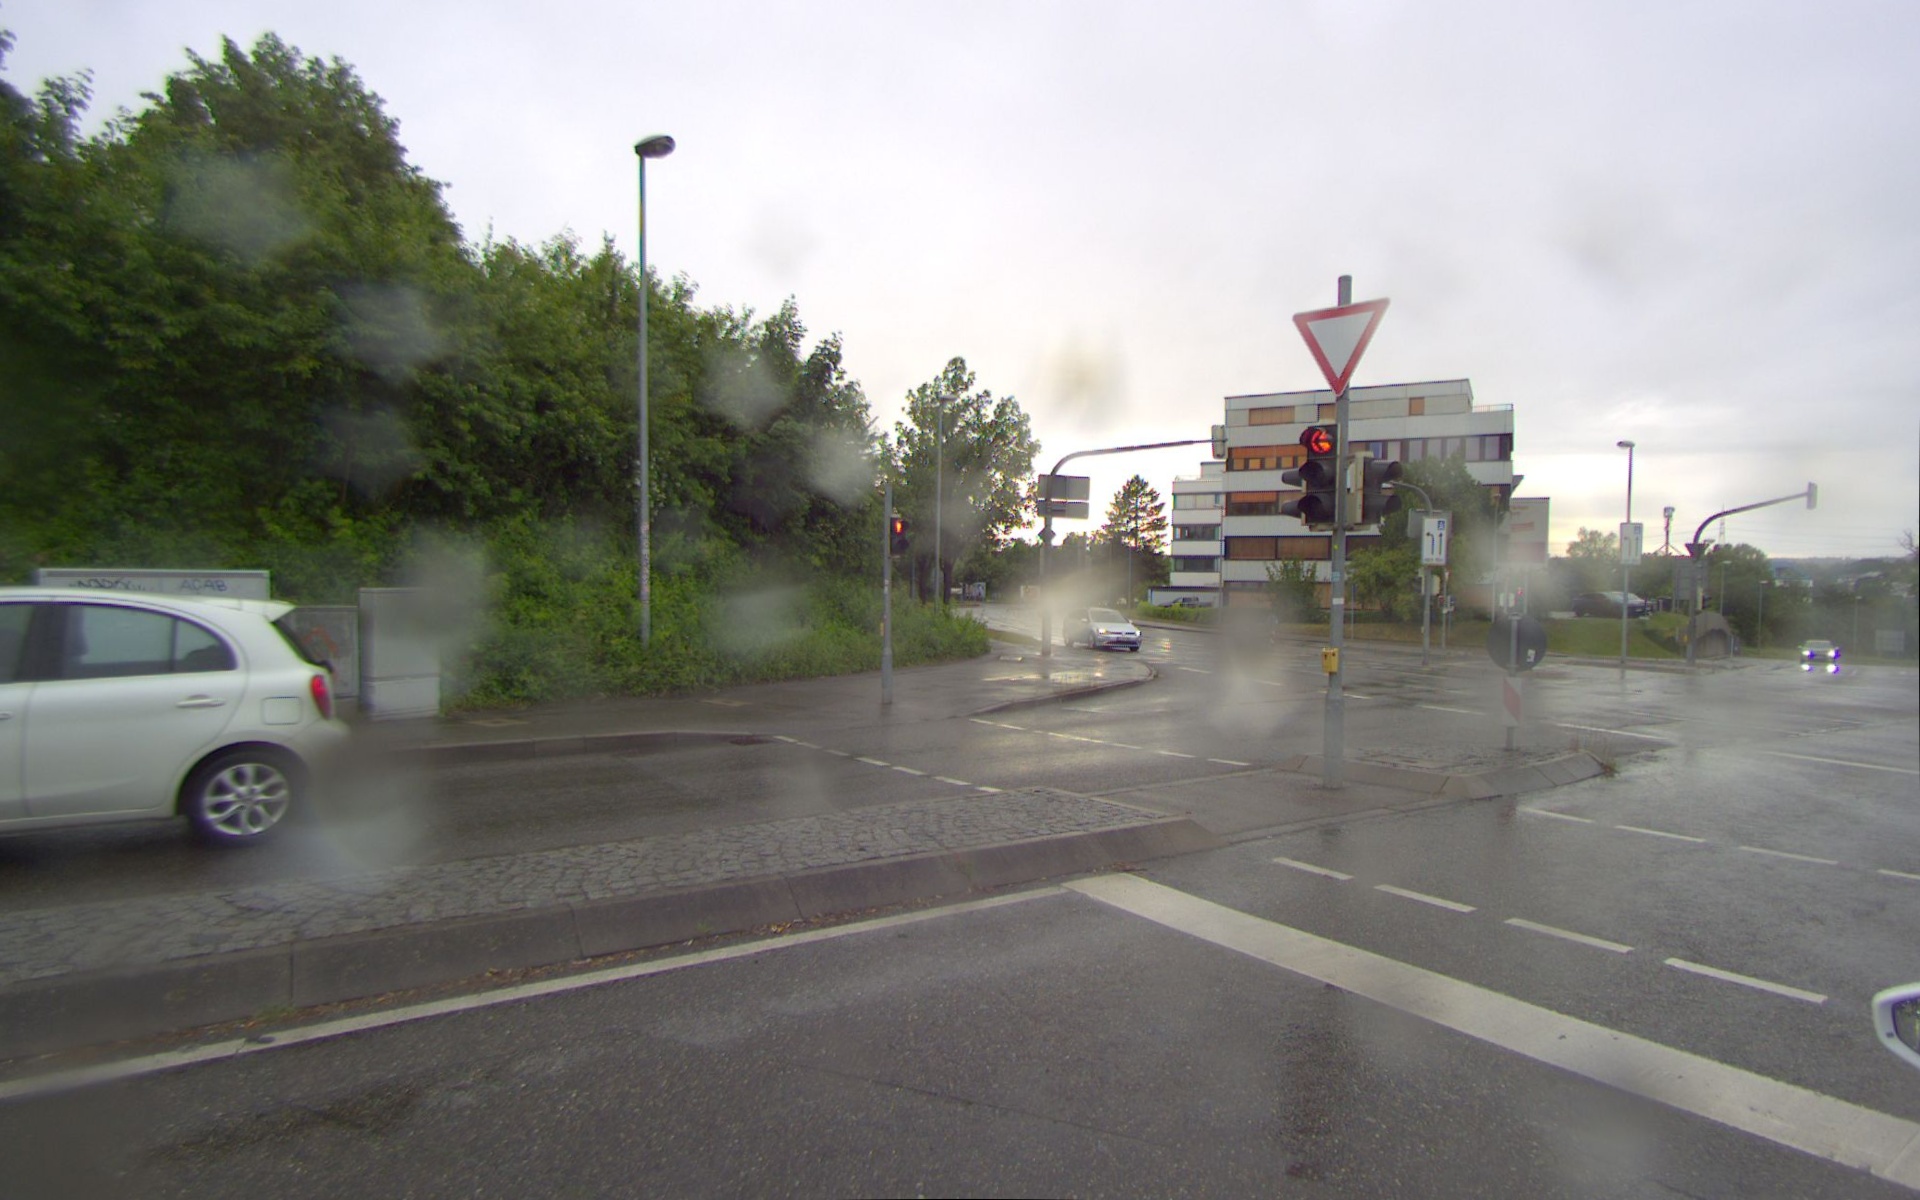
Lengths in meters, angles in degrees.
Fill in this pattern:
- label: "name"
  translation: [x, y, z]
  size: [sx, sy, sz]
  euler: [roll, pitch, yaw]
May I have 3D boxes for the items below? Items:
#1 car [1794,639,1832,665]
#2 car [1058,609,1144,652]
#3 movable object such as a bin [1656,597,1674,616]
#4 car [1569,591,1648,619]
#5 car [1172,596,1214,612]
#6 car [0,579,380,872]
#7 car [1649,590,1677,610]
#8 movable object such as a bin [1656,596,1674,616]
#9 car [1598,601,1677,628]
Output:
- label: "car"
  translation: [54.045, 3.246, 63.719]
  size: [1.641, 1.514, 3.984]
  euler: [2, -1, 38]
- label: "car"
  translation: [5.054, 1.072, 36.587]
  size: [1.731, 1.381, 4.523]
  euler: [2, 0, -11]
- label: "movable object such as a bin"
  translation: [56.530, 0.527, 80.592]
  size: [1.069, 1.456, 1.443]
  euler: [3, 0, 34]
- label: "car"
  translation: [42.431, 0.301, 65.784]
  size: [1.874, 1.607, 3.981]
  euler: [4, 0, -21]
- label: "car"
  translation: [22.323, 0.361, 96.231]
  size: [3.686, 1.418, 2.000]
  euler: [1, 1, 19]
- label: "car"
  translation: [-5.616, 0.658, 5.747]
  size: [3.789, 1.525, 1.607]
  euler: [1, -1, -39]
- label: "car"
  translation: [61.003, 0.021, 87.202]
  size: [1.802, 1.461, 3.990]
  euler: [3, -1, 33]
- label: "movable object such as a bin"
  translation: [55.722, 0.497, 79.361]
  size: [1.069, 1.456, 1.443]
  euler: [3, 0, 34]
- label: "car"
  translation: [44.727, 0.945, 66.371]
  size: [1.872, 1.607, 3.985]
  euler: [4, 0, -17]
